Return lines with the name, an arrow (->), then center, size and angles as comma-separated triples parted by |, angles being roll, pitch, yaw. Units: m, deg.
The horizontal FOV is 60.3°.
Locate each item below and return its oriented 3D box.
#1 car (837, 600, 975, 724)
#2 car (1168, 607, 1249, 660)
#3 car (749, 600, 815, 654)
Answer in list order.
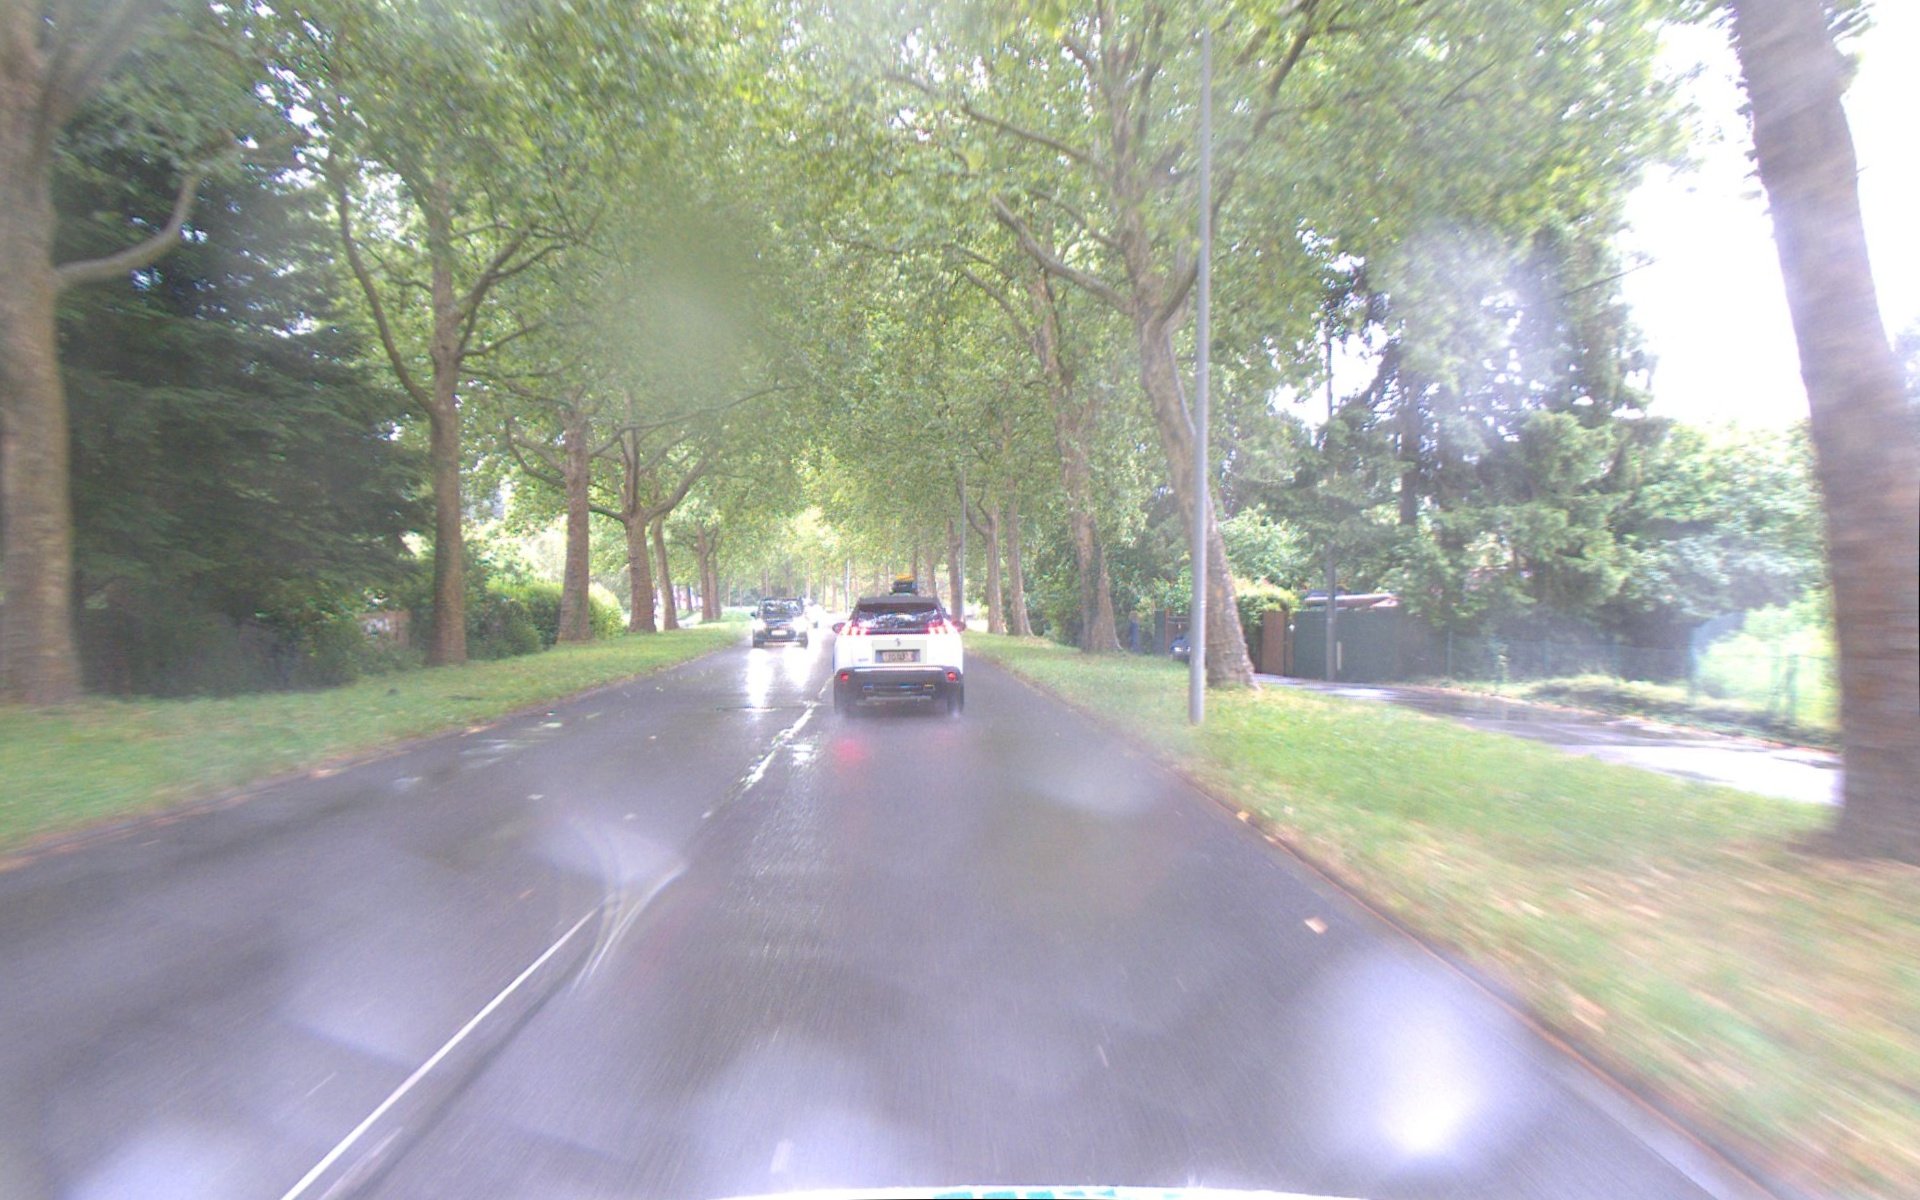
car -> -0.767, 0.798, 23.261 | 1.744, 1.563, 4.055 | 1, 0, -2
car -> 7.647, 1.005, 51.208 | 1.867, 1.536, 3.931 | 2, 0, -1
car -> -5.900, 0.880, 55.120 | 1.835, 1.706, 3.707 | 1, 0, -1
